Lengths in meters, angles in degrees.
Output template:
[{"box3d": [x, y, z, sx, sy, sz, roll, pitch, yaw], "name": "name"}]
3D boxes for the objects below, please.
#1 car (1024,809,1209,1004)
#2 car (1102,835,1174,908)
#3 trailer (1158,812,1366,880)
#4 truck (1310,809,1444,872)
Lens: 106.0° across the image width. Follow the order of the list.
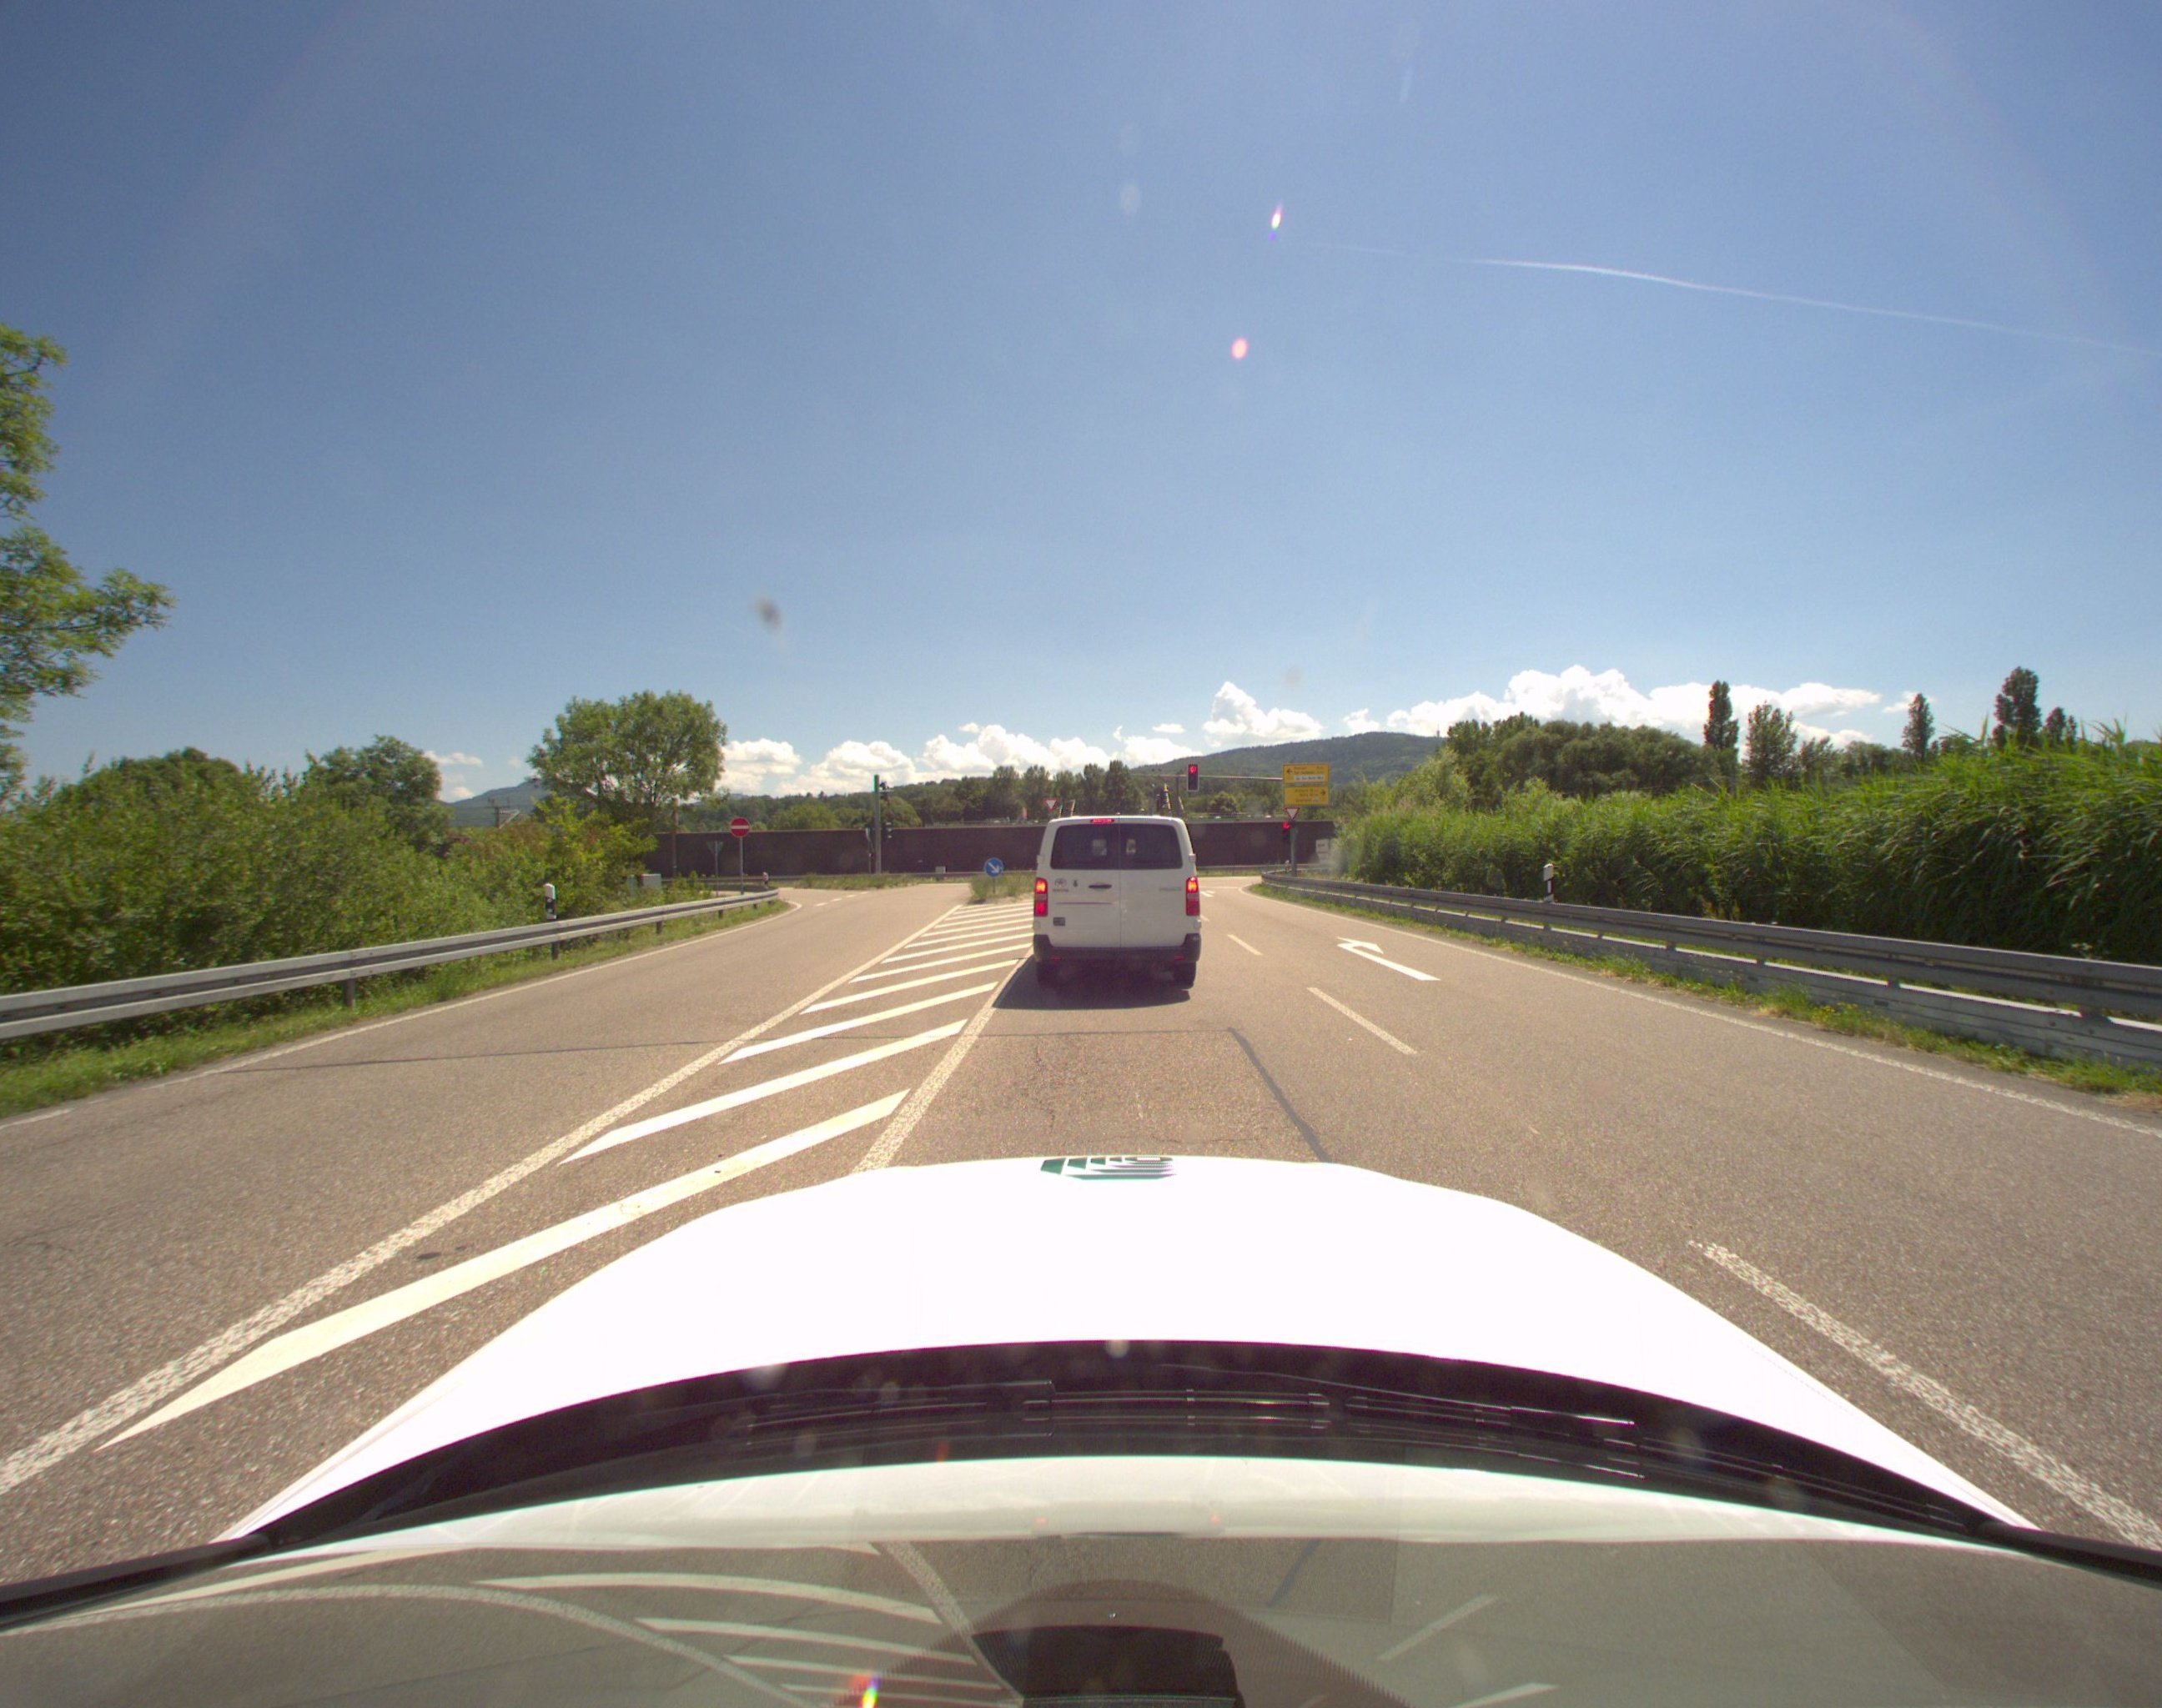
[{"box3d": [0.417, 0.547, 10.312, 1.863, 1.964, 4.001, -1, 0, 1], "name": "car"}, {"box3d": [1.704, 0.512, 25.457, 1.986, 2.013, 4.002, -3, -1, 2], "name": "car"}, {"box3d": [11.034, -0.513, 50.179, 12.285, 3.504, 2.232, -3, 1, -1], "name": "trailer"}, {"box3d": [18.198, -0.858, 50.342, 7.384, 3.504, 2.232, -3, 1, -1], "name": "truck"}]
